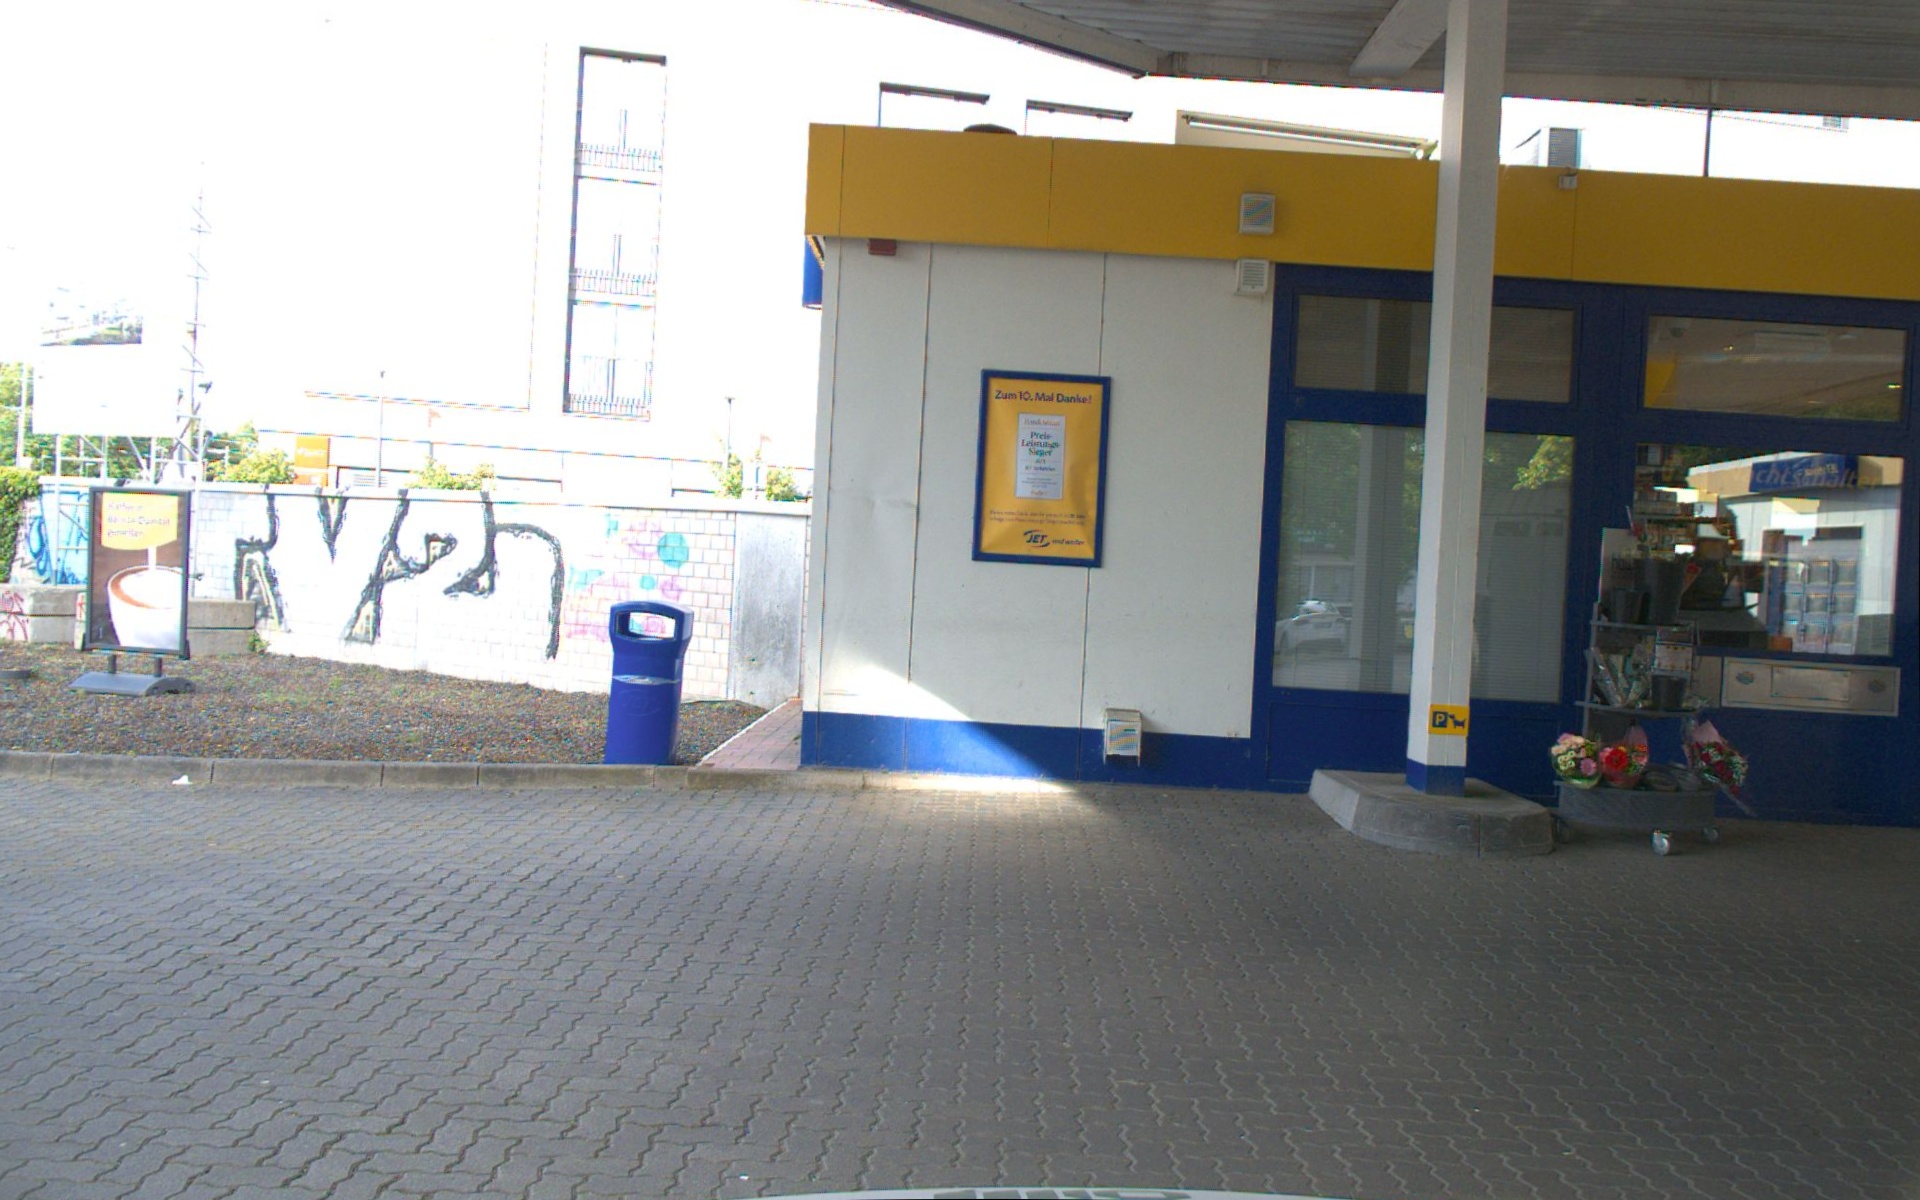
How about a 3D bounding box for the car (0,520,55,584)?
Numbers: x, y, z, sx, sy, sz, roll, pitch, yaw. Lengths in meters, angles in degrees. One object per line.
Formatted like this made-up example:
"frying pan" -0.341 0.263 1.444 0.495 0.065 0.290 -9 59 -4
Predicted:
"car" -25.506 -1.309 44.082 1.641 1.574 3.693 4 1 -17
